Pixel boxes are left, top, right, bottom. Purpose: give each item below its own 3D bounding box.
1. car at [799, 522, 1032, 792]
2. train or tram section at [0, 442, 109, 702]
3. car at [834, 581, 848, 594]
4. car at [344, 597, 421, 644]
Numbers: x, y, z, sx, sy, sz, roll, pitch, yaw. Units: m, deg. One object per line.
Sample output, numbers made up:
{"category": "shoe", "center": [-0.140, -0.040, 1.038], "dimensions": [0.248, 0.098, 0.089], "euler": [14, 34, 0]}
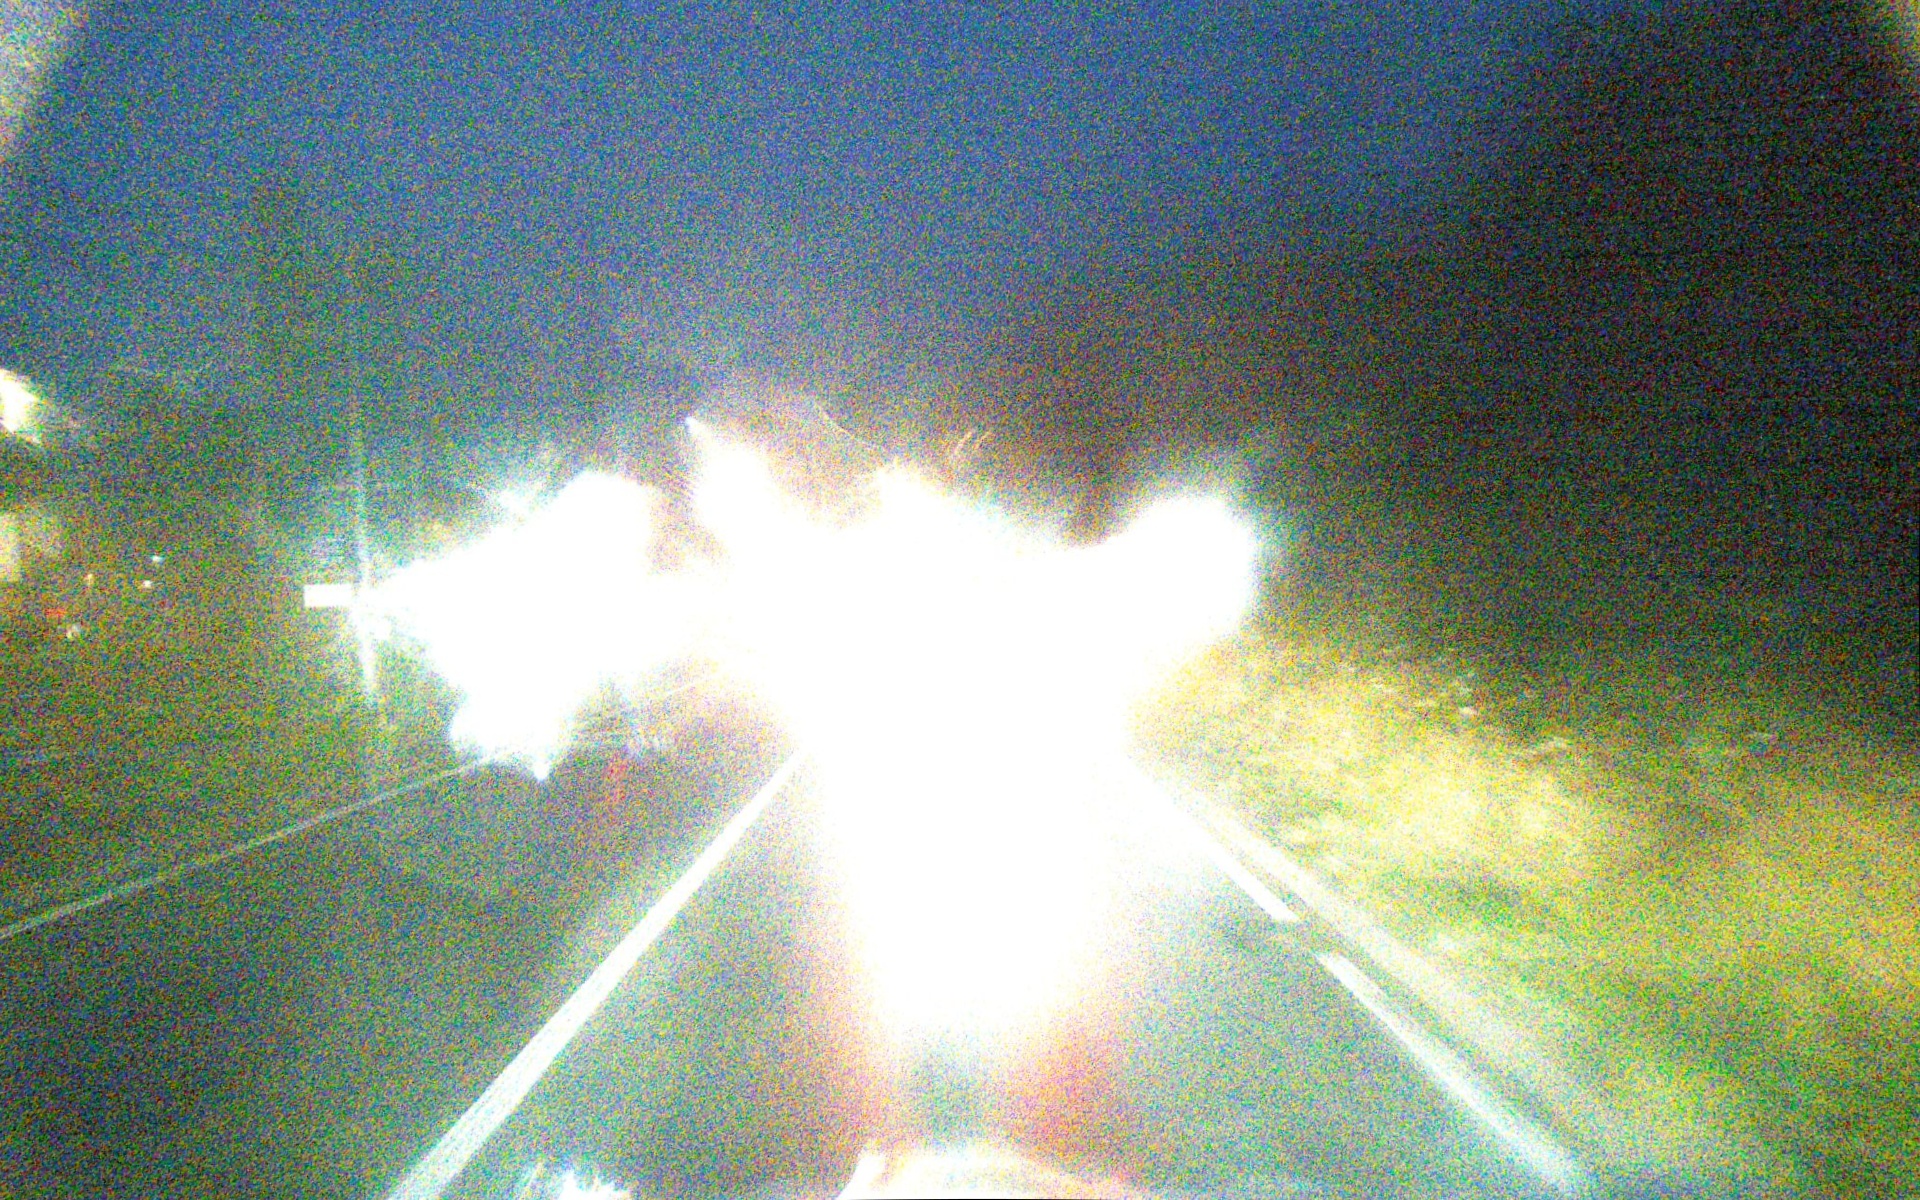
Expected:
{"category": "car", "center": [-0.452, 0.423, 15.471], "dimensions": [1.756, 2.057, 4.577], "euler": [-3, 1, -3]}
{"category": "train or tram section", "center": [-15.320, -0.543, 9.278], "dimensions": [2.641, 3.882, 37.135], "euler": [1, 0, -1]}
{"category": "car", "center": [-15.961, -1.658, 221.330], "dimensions": [1.766, 1.616, 4.028], "euler": [-2, 0, -4]}
{"category": "car", "center": [-22.953, 0.794, 65.896], "dimensions": [1.750, 1.723, 4.217], "euler": [-1, 1, -3]}
